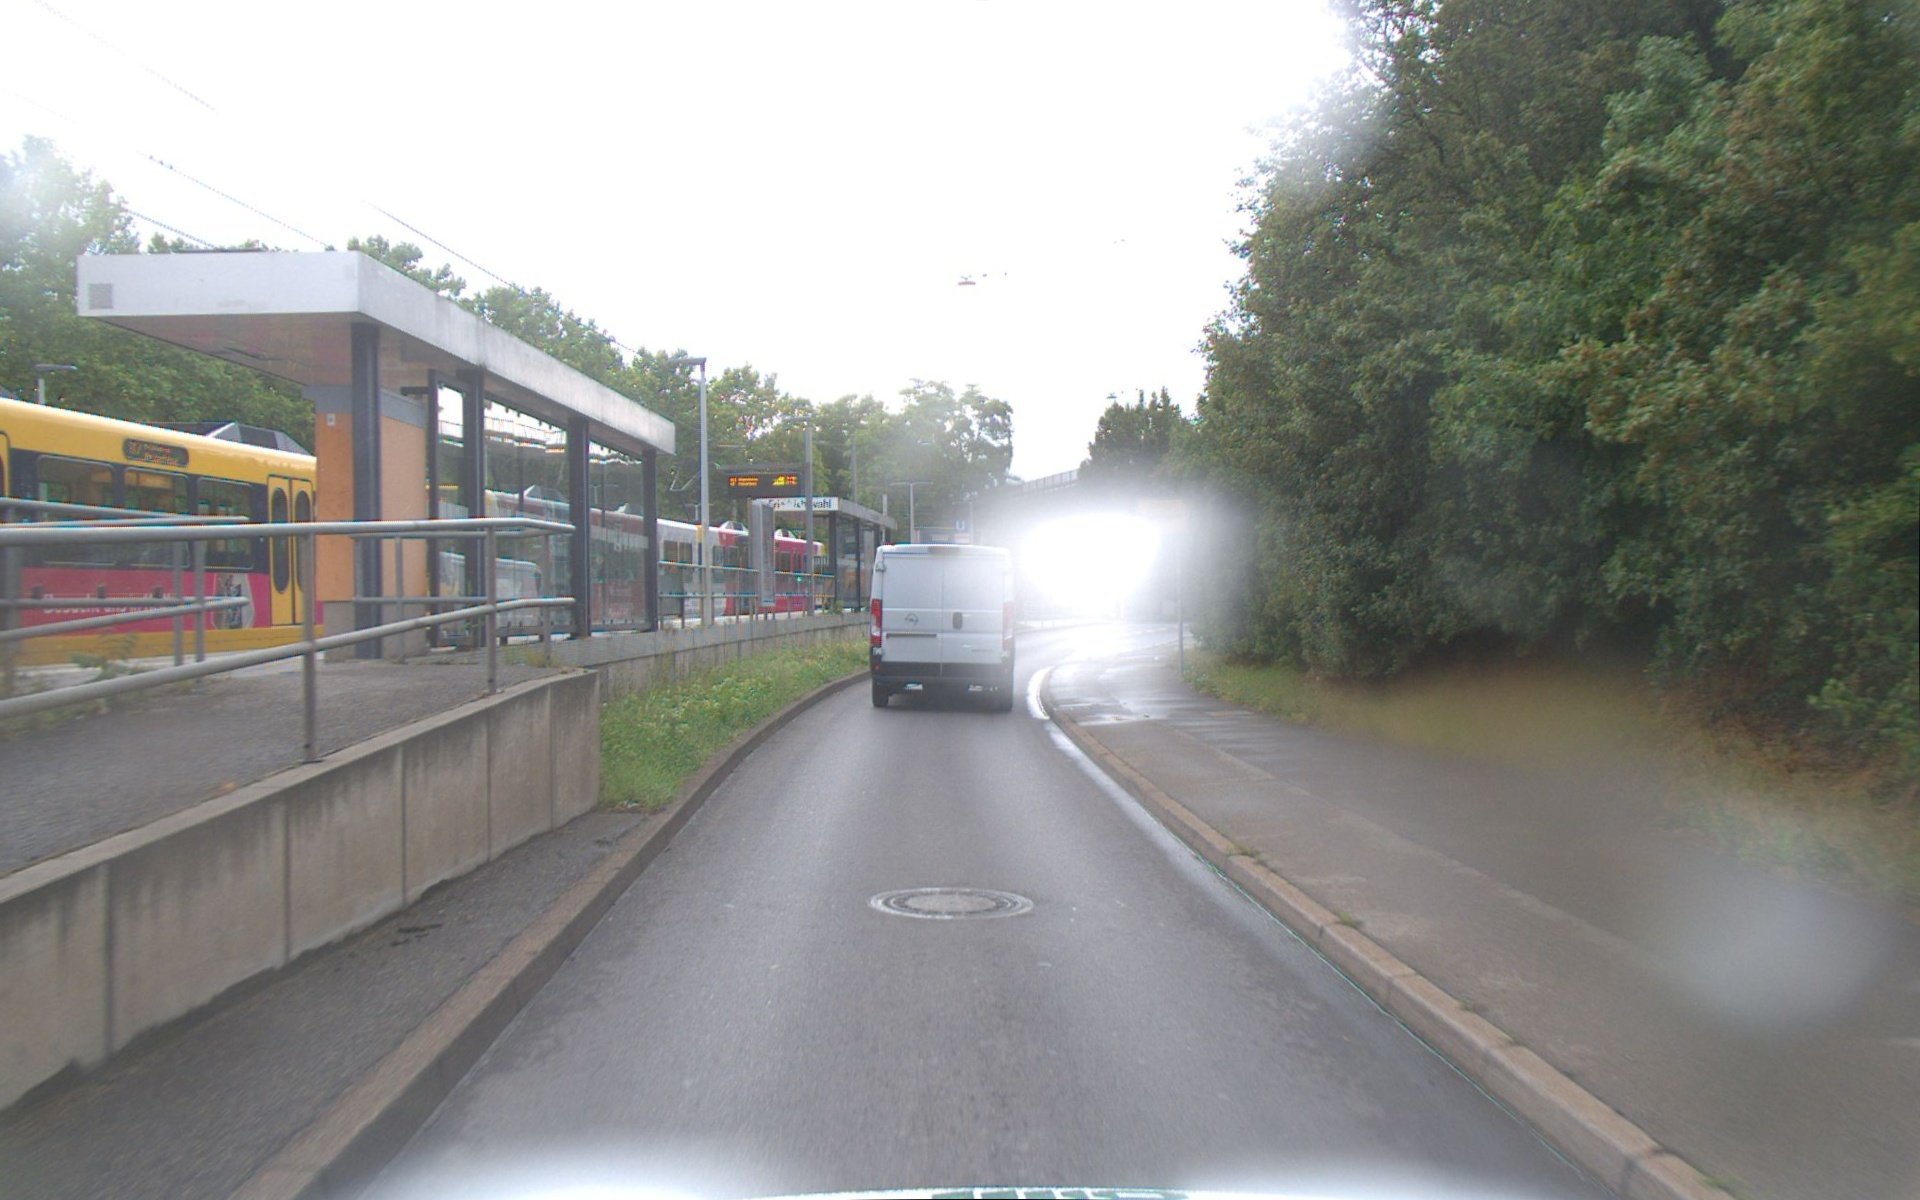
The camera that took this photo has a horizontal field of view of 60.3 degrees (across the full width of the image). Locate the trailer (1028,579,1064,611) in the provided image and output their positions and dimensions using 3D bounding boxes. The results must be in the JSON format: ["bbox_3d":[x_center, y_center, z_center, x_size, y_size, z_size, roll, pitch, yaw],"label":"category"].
[{"bbox_3d":[7.743,-0.426,149.424,1.962,2.773,4.103,1,-1,-17],"label":"trailer"}]

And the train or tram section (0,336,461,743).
[{"bbox_3d":[-10.780,-0.605,20.098,2.808,4.023,19.335,2,0,2],"label":"train or tram section"}]

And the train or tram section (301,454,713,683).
[{"bbox_3d":[-9.600,-0.483,39.390,2.807,4.040,19.341,2,0,5],"label":"train or tram section"}]

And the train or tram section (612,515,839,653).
[{"bbox_3d":[-7.672,-0.382,58.710,2.807,4.030,19.344,2,0,7],"label":"train or tram section"}]

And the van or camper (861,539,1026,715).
[{"bbox_3d":[-0.130,0.378,24.470,2.153,2.292,4.685,2,0,2],"label":"van or camper"}]
